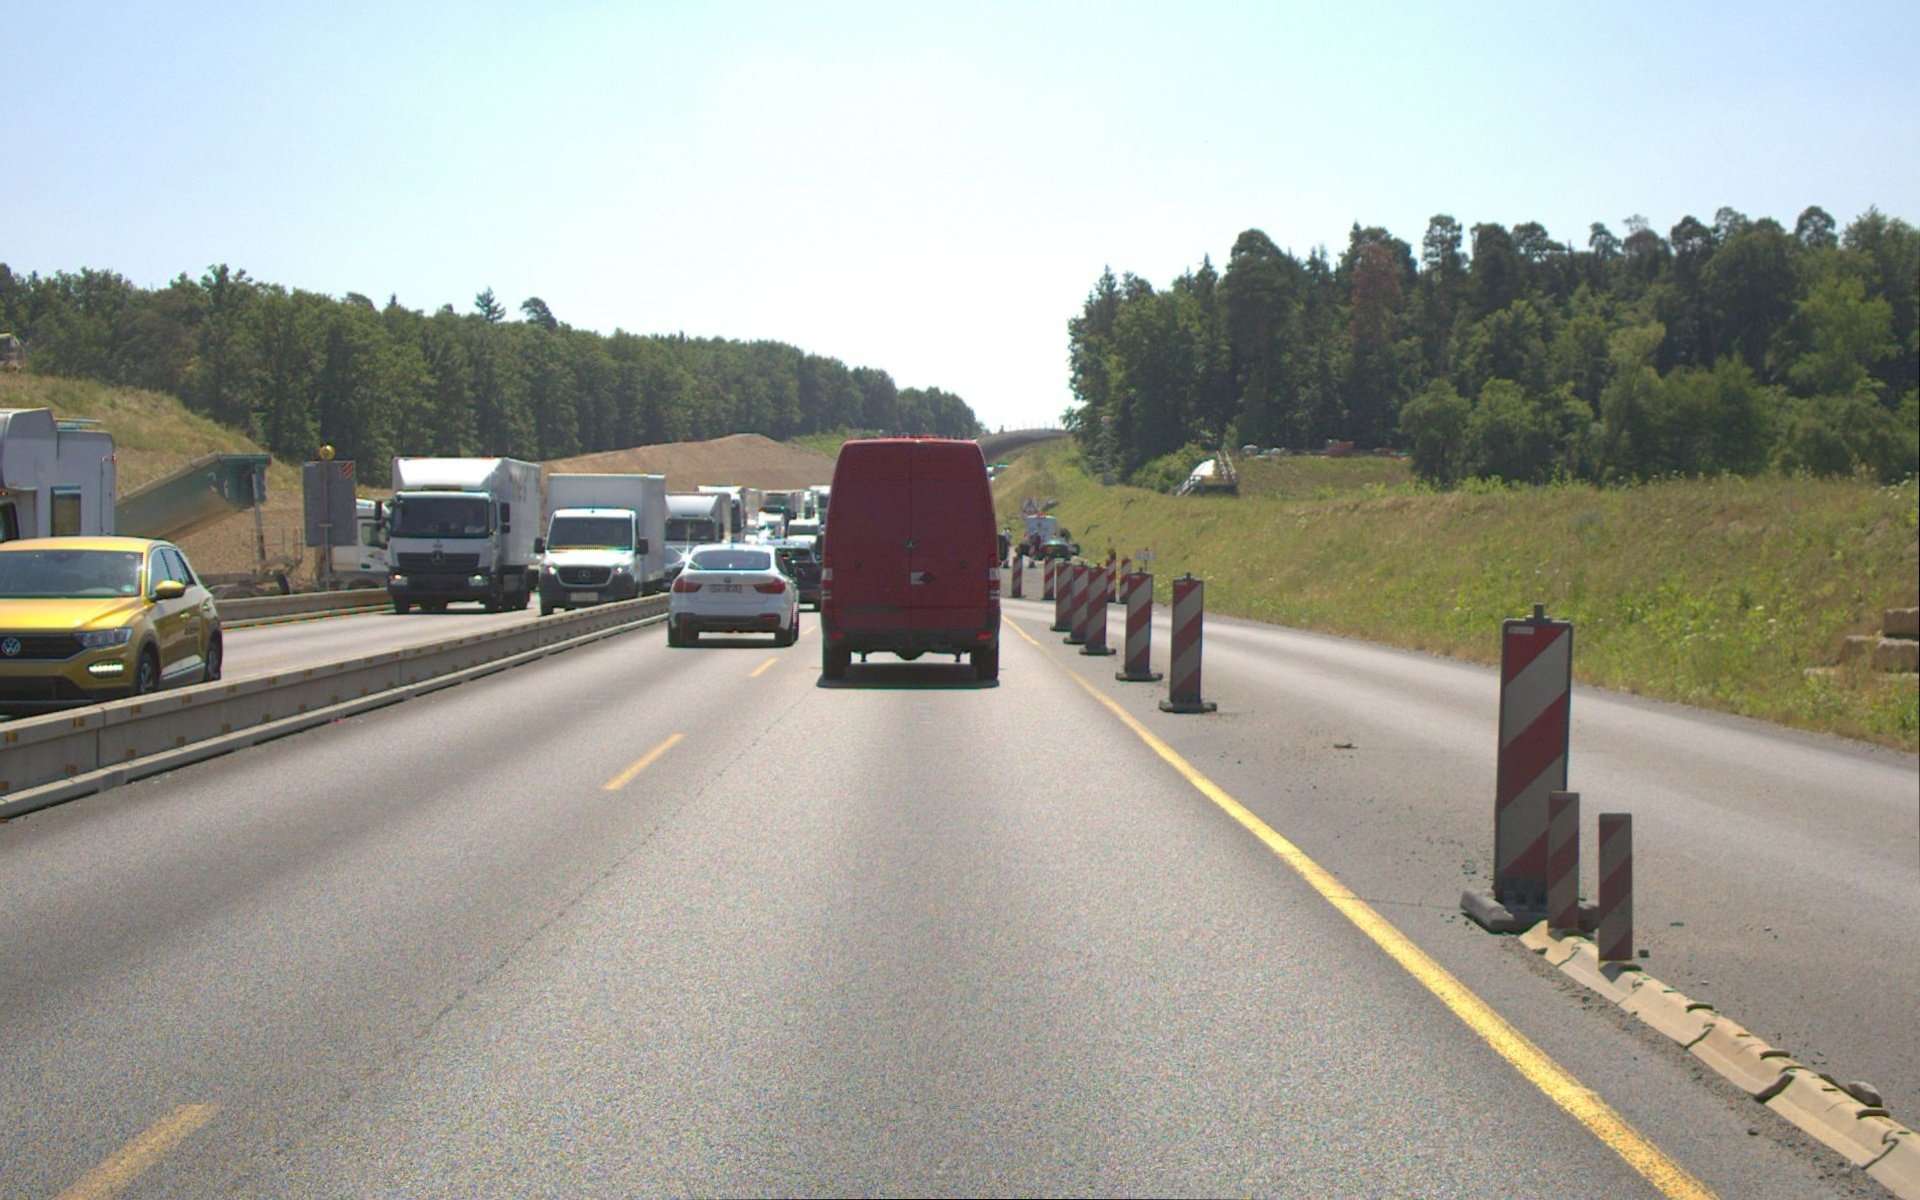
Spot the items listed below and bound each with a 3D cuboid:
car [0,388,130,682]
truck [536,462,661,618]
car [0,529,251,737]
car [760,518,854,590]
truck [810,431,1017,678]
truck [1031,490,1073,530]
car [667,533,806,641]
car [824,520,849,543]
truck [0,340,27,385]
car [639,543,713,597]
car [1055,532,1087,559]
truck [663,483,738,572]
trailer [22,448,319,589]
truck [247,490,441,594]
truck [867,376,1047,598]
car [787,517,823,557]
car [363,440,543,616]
[{"bbox_3d":[-10.766,-0.695,37.064,2.251,2.945,5.849,1,1,-1],"label":"car"},{"bbox_3d":[-7.683,-1.266,73.734,2.271,3.139,7.315,1,1,-3],"label":"truck"},{"bbox_3d":[-7.196,0.207,28.361,1.762,1.568,4.362,1,1,0],"label":"car"},{"bbox_3d":[-3.421,-1.065,77.535,1.967,1.536,4.311,1,2,-1],"label":"car"},{"bbox_3d":[-0.515,-0.514,39.088,2.153,2.581,5.333,1,1,0],"label":"truck"},{"bbox_3d":[5.879,-5.765,219.314,2.130,2.448,5.924,1,2,6],"label":"truck"},{"bbox_3d":[-3.291,-0.212,51.159,1.831,1.517,3.961,1,1,-1],"label":"car"},{"bbox_3d":[-8.944,-4.976,248.887,1.688,1.608,4.594,1,1,-1],"label":"car"},{"bbox_3d":[-65.641,-15.913,231.644,2.295,2.739,8.905,0,1,-36],"label":"truck"},{"bbox_3d":[-8.183,-0.872,99.255,1.788,1.477,4.561,1,1,0],"label":"car"},{"bbox_3d":[6.502,-3.191,201.390,1.654,1.422,4.545,-2,2,0],"label":"car"},{"bbox_3d":[-11.283,-3.108,150.094,2.644,3.703,9.483,1,1,-1],"label":"truck"},{"bbox_3d":[-23.598,-2.436,102.721,8.350,4.084,2.797,1,0,18],"label":"trailer"},{"bbox_3d":[-18.422,-1.713,102.913,5.047,2.954,2.586,1,0,-38],"label":"truck"},{"bbox_3d":[-0.152,-2.907,93.967,4.400,5.477,16.604,1,1,-1],"label":"truck"},{"bbox_3d":[-9.095,-3.713,202.012,1.993,2.284,5.344,1,2,-1],"label":"car"},{"bbox_3d":[-11.319,-1.640,77.503,2.908,3.727,8.091,1,1,-1],"label":"car"}]
